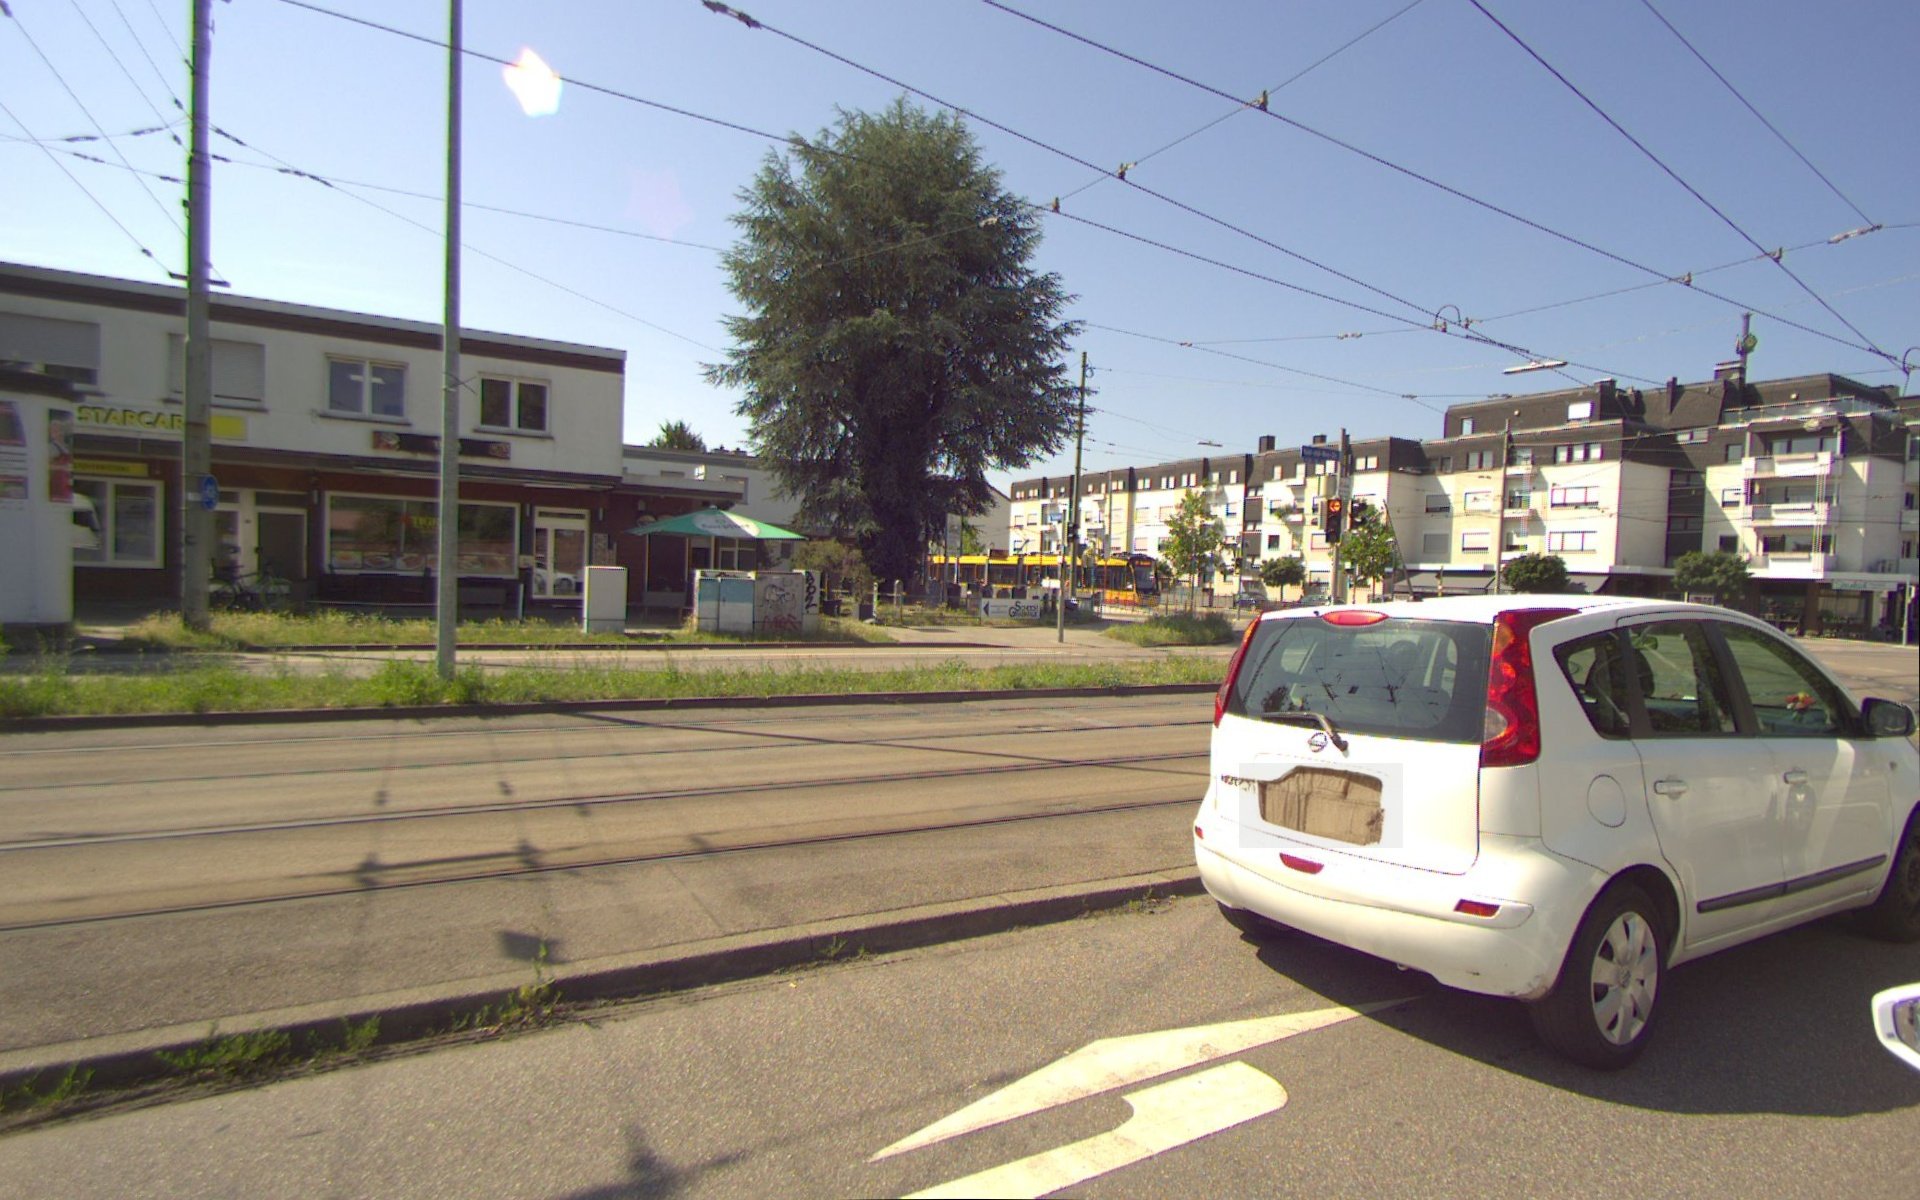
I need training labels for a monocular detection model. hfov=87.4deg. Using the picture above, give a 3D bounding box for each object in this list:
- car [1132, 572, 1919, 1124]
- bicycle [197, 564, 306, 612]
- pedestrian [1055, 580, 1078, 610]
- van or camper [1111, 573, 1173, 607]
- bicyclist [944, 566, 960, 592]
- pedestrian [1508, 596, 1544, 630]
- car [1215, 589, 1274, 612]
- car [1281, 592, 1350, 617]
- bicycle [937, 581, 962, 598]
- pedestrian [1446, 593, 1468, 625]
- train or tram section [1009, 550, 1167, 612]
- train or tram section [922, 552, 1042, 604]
[{"bbox_3d":[2.933,0.746,4.664,4.019,1.582,1.757,1,0,-30],"label":"car"},{"bbox_3d":[-15.674,-0.264,22.274,1.889,0.996,0.754,1,1,-30],"label":"bicycle"},{"bbox_3d":[6.856,-0.318,64.605,0.886,1.862,1.192,1,1,-30],"label":"pedestrian"},{"bbox_3d":[14.951,-0.873,82.862,2.349,2.660,4.850,1,1,-31],"label":"van or camper"},{"bbox_3d":[-0.515,-1.332,62.806,0.625,1.579,0.759,2,0,-34],"label":"bicyclist"},{"bbox_3d":[32.461,0.733,57.646,1.410,1.861,1.123,2,1,8],"label":"pedestrian"},{"bbox_3d":[20.627,0.018,72.955,1.807,1.520,3.967,1,1,-30],"label":"car"},{"bbox_3d":[23.900,0.285,67.633,1.807,1.520,4.151,1,1,-30],"label":"car"},{"bbox_3d":[-0.664,-0.657,62.982,0.530,0.959,2.116,1,1,-33],"label":"bicycle"},{"bbox_3d":[28.761,0.513,58.094,0.797,1.783,0.762,2,1,-8],"label":"pedestrian"},{"bbox_3d":[8.227,-1.392,67.866,2.736,3.707,13.795,1,1,-30],"label":"train or tram section"},{"bbox_3d":[1.406,-1.843,79.850,2.736,3.707,13.795,1,1,-30],"label":"train or tram section"}]
